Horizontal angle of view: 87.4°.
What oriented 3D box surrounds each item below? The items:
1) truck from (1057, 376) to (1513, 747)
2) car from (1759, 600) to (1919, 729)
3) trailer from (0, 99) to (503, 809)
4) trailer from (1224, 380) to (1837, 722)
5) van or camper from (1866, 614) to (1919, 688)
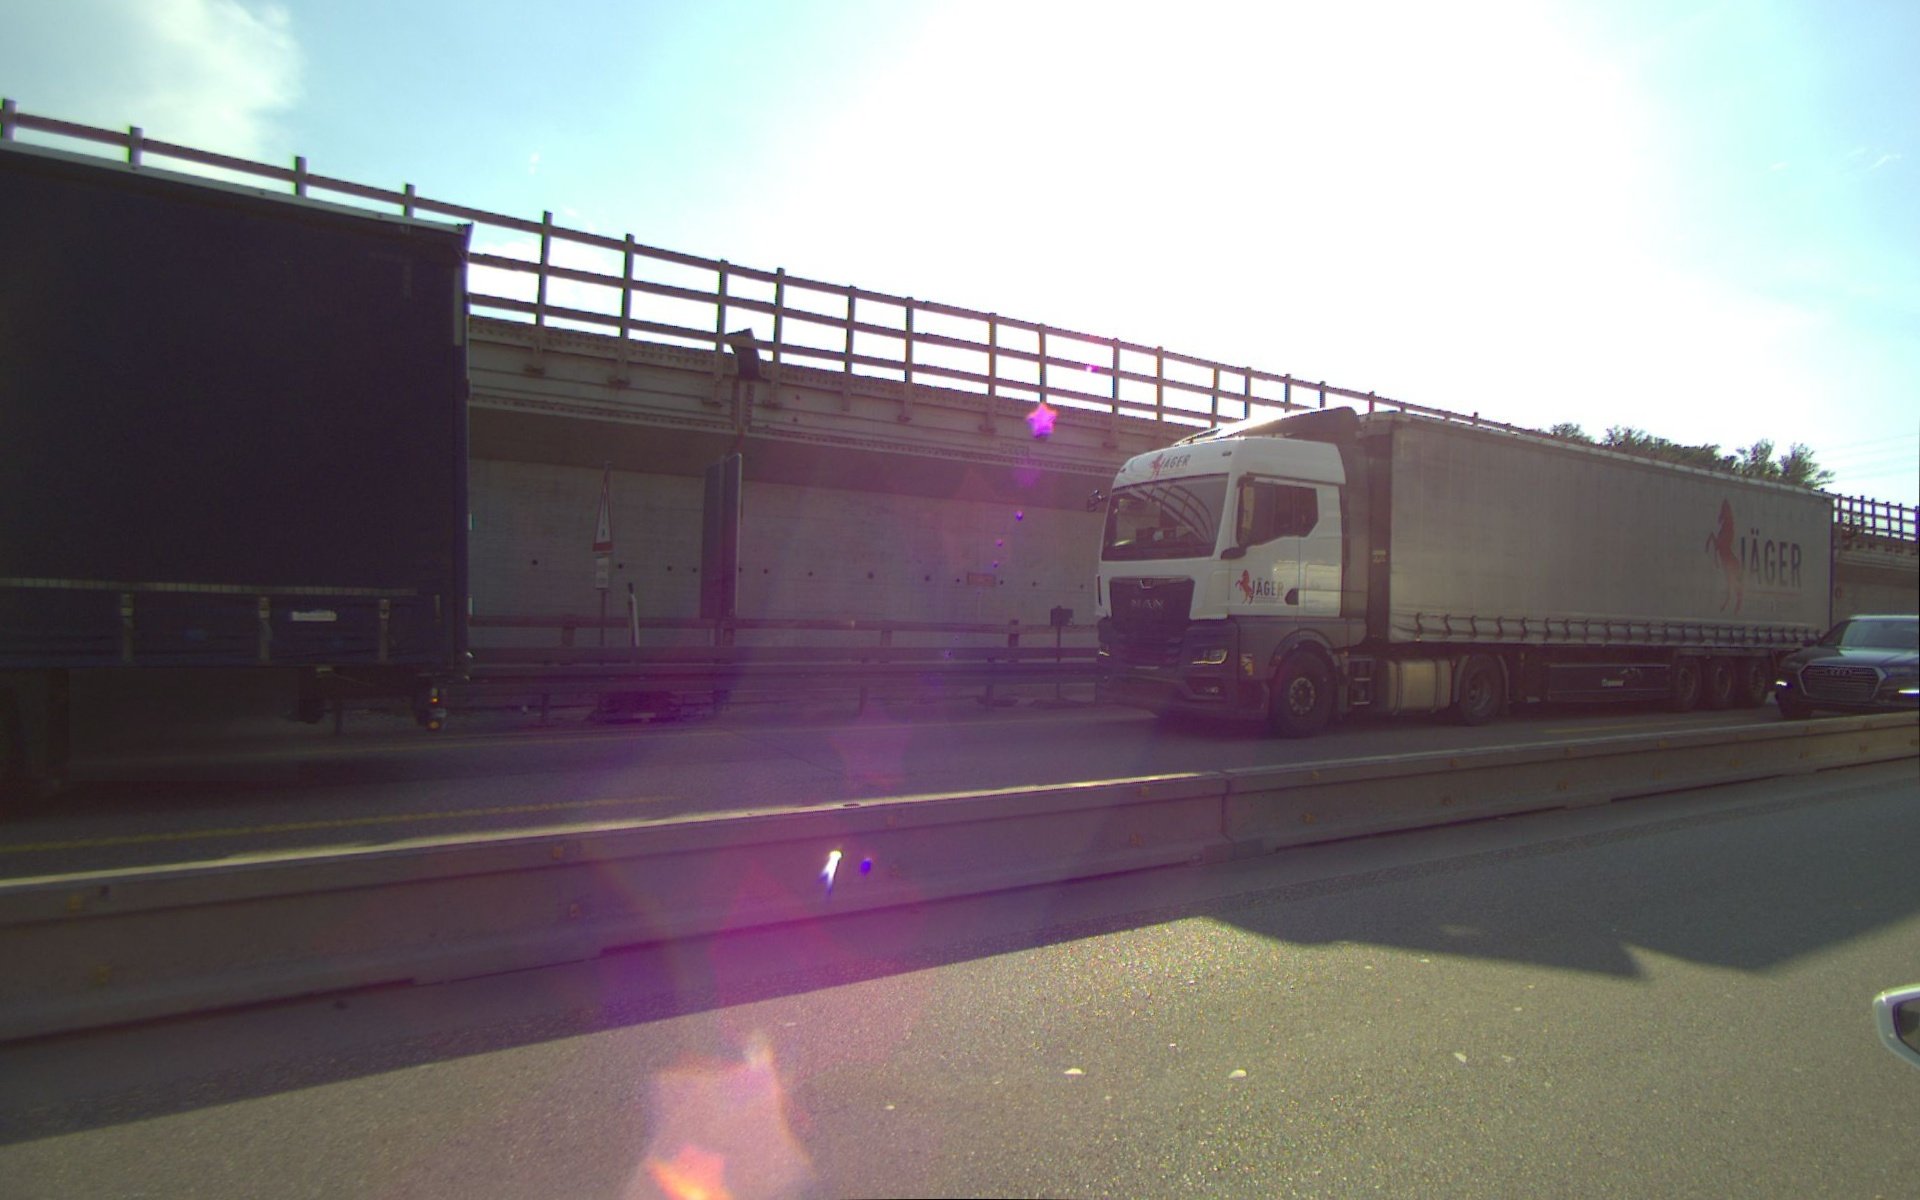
[{"bbox_3d":[4.466,-0.335,13.665,5.593,4.061,2.846,2,0,-31],"label":"truck"},{"bbox_3d":[15.214,1.008,16.311,5.081,1.796,1.813,2,-1,-31],"label":"car"},{"bbox_3d":[-9.988,-0.932,4.962,13.862,4.197,2.751,1,0,-31],"label":"trailer"},{"bbox_3d":[10.578,-0.374,17.390,13.612,4.296,2.898,2,0,-31],"label":"trailer"},{"bbox_3d":[27.700,1.439,28.281,4.866,1.948,1.907,2,0,-31],"label":"van or camper"}]
